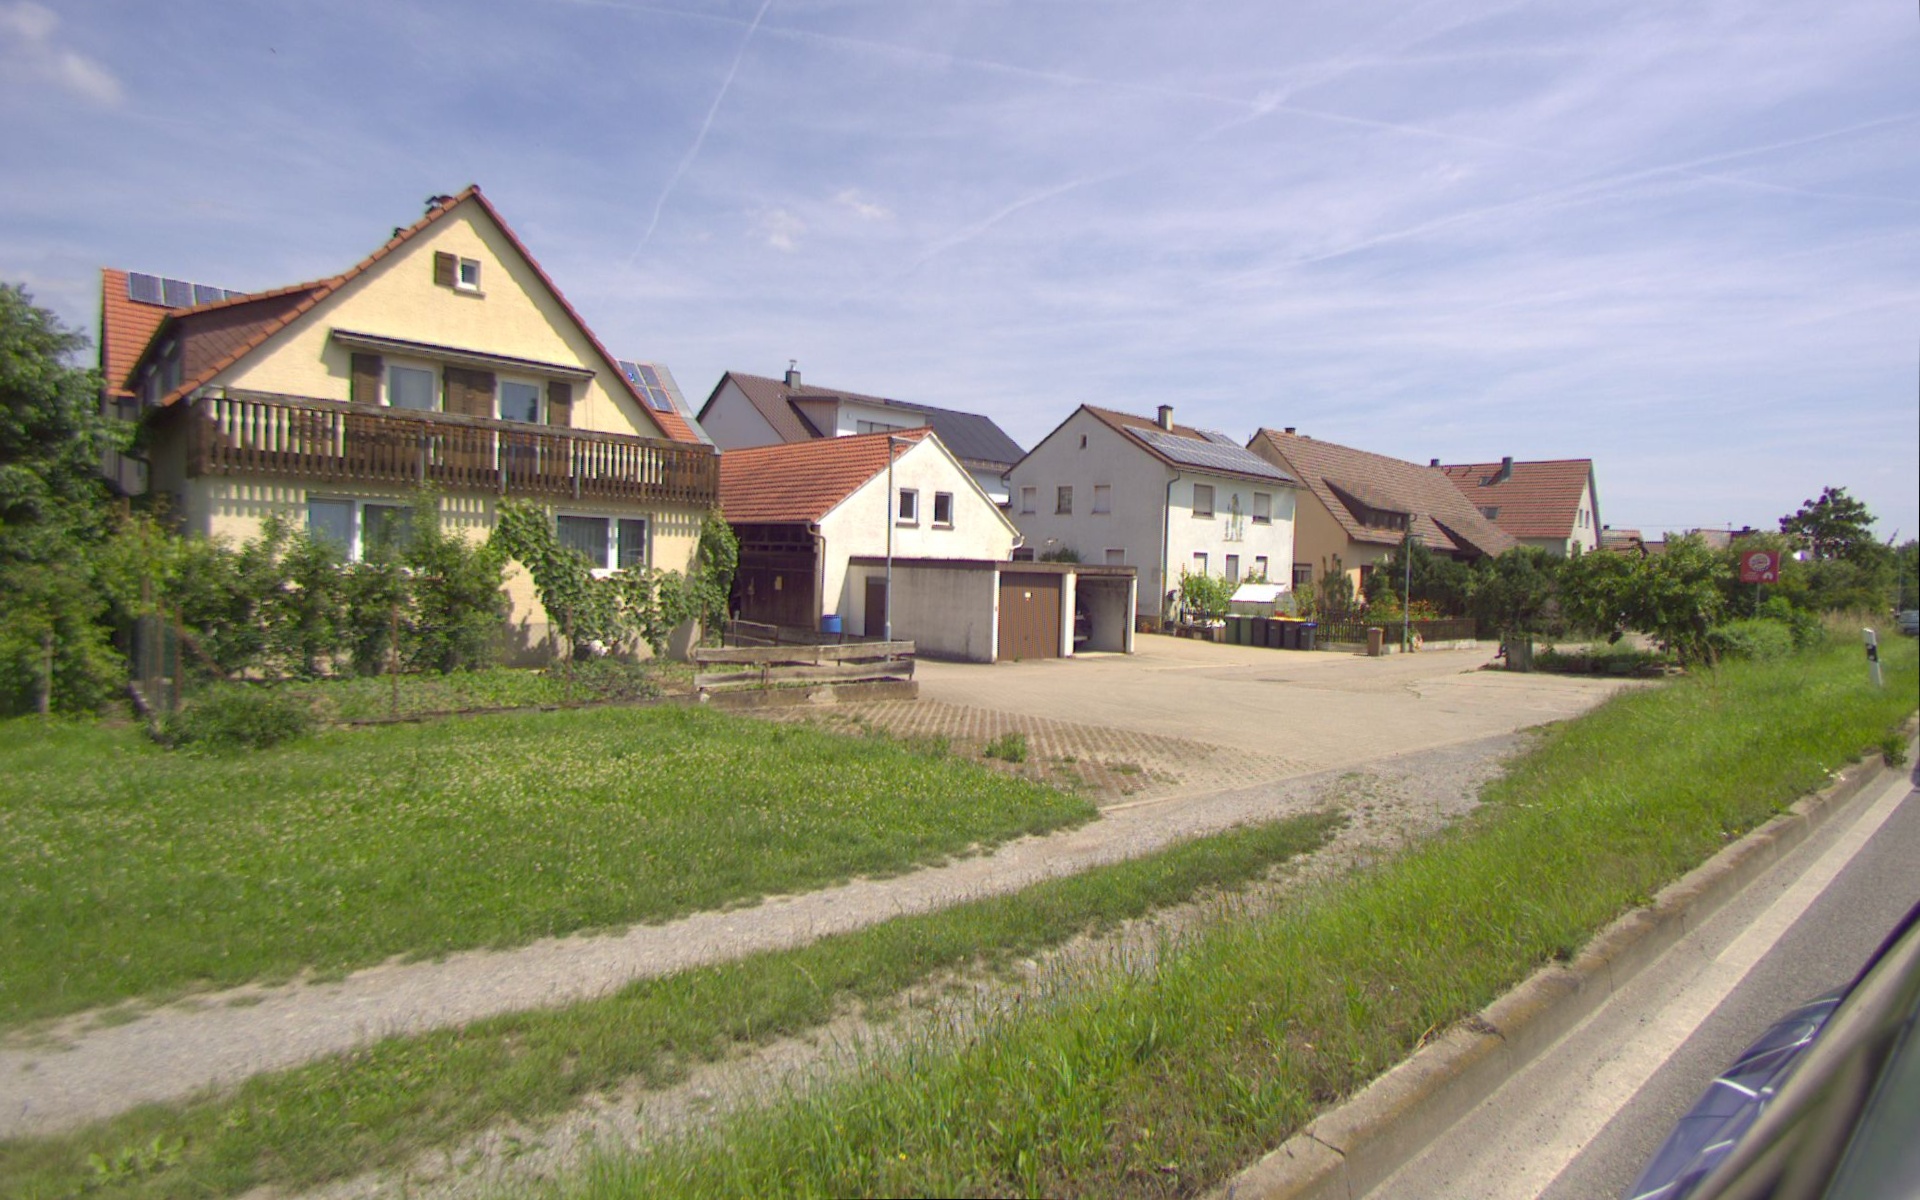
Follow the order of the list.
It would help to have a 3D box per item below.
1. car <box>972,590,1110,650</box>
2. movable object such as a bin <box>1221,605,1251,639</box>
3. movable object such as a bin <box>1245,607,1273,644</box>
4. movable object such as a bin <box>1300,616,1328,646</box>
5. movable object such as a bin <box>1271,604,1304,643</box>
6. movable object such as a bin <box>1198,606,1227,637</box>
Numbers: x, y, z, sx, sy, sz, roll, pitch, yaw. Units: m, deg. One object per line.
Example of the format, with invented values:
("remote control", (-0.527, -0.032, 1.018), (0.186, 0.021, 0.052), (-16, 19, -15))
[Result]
("car", (2.350, 0.549, 30.219), (1.794, 1.624, 3.995), (1, 1, -40))
("movable object such as a bin", (10.422, 0.815, 38.158), (0.874, 1.262, 0.744), (1, 0, -42))
("movable object such as a bin", (11.099, 0.942, 37.535), (0.806, 1.355, 0.677), (1, -1, -42))
("movable object such as a bin", (12.468, 1.091, 35.617), (0.743, 1.040, 0.645), (1, 0, -42))
("movable object such as a bin", (11.752, 0.834, 36.321), (0.930, 1.387, 0.764), (1, -1, -42))
("movable object such as a bin", (9.664, 0.809, 38.761), (0.816, 1.171, 0.739), (1, 0, -42))
